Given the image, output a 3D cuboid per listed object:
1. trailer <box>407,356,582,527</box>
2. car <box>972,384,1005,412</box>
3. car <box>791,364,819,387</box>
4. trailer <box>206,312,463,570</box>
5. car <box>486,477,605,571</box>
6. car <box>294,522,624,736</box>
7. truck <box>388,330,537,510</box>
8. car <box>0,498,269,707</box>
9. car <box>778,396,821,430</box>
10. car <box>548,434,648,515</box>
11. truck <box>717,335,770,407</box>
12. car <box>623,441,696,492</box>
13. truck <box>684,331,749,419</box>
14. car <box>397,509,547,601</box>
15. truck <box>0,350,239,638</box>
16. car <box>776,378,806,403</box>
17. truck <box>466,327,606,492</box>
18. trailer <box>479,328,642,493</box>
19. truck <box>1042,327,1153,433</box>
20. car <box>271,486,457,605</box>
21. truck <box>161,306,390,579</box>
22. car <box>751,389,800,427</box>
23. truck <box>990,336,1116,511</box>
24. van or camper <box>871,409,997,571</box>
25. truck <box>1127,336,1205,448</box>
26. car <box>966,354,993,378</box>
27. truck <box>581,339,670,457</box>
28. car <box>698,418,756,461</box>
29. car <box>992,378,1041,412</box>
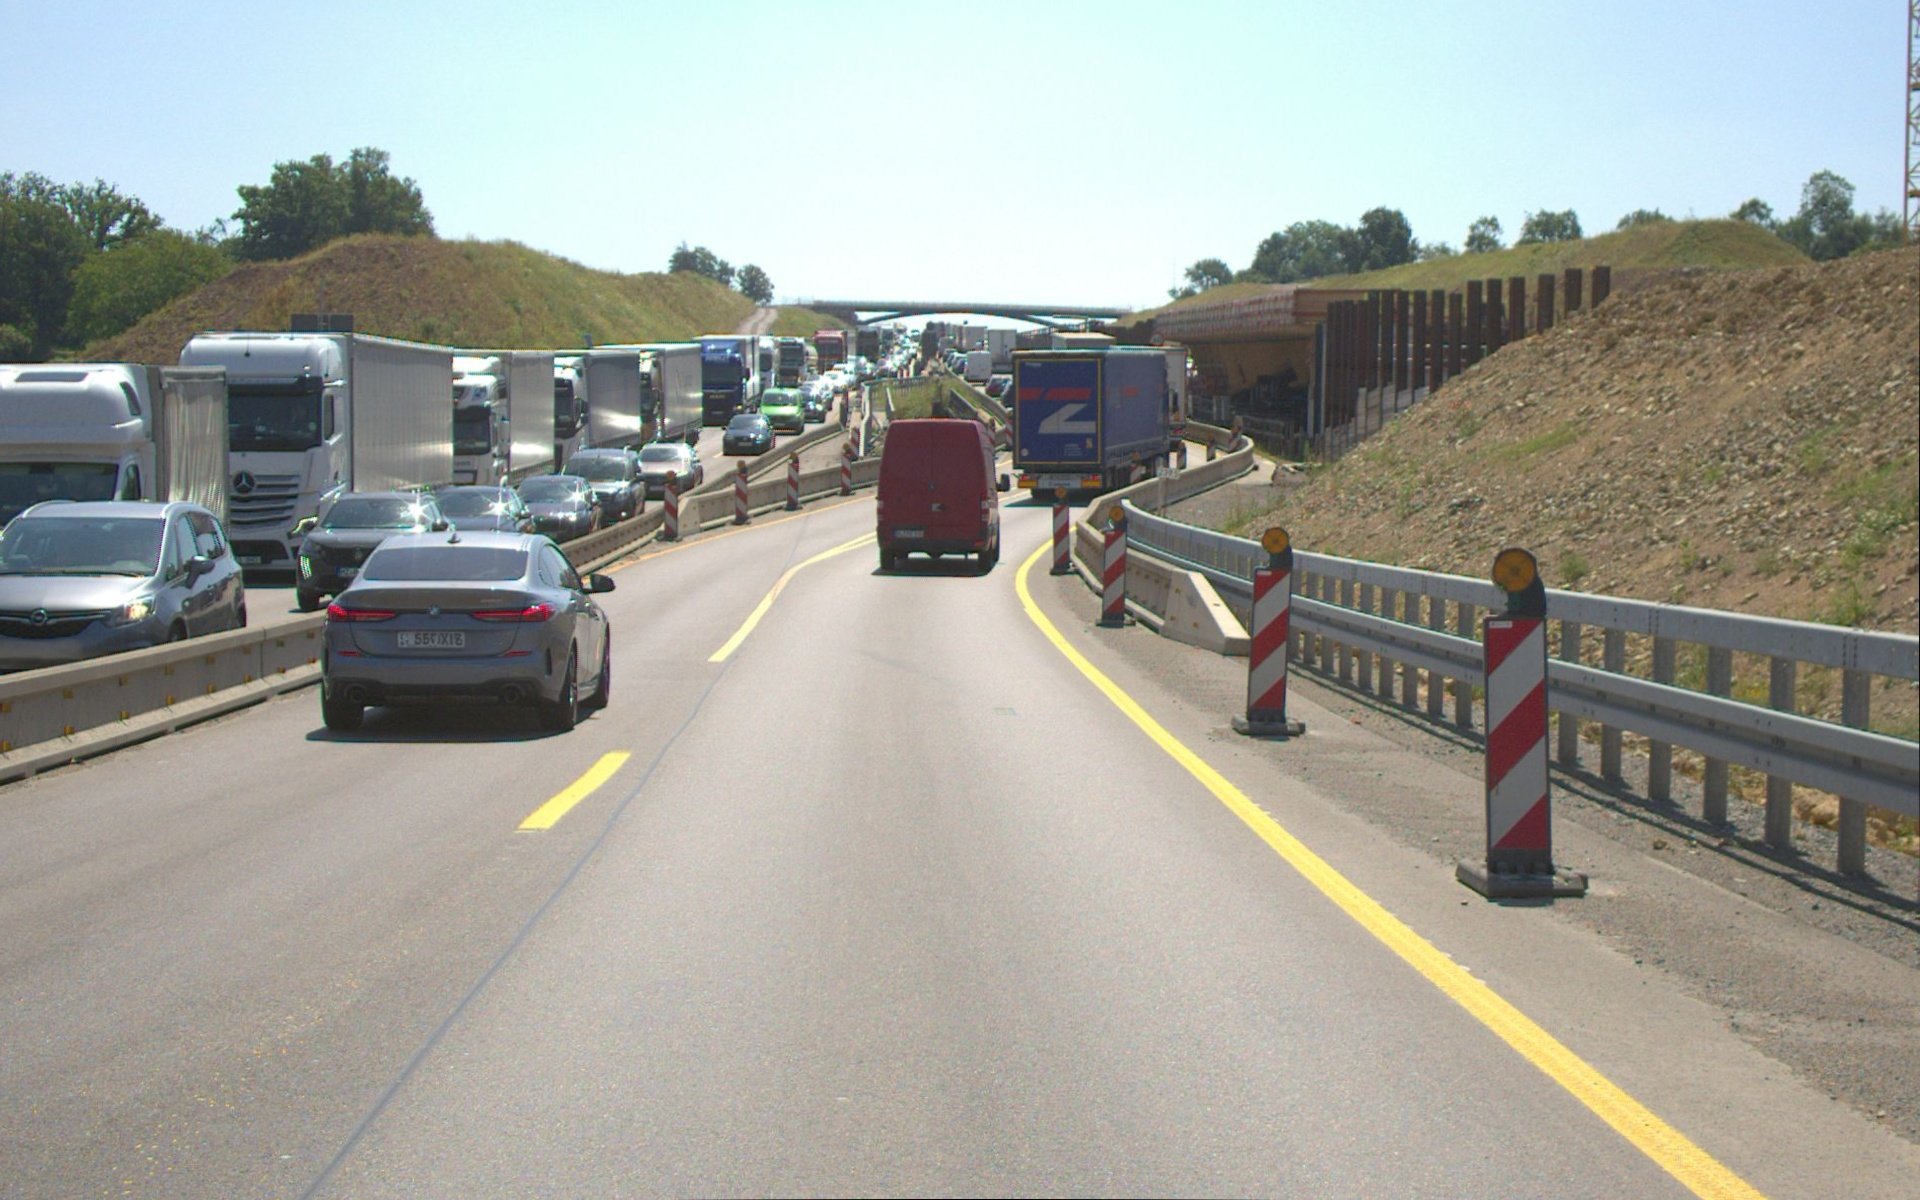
[{"bbox_3d":[-11.364,-3.774,84.963,2.783,3.918,11.009,0,1,0],"label":"trailer"},{"bbox_3d":[1.746,-12.545,213.519,1.952,1.525,4.268,1,1,-1],"label":"car"},{"bbox_3d":[-10.995,-15.947,244.228,1.952,1.524,4.268,0,2,-2],"label":"car"},{"bbox_3d":[-11.264,-2.824,63.197,2.595,4.242,12.469,0,2,-1],"label":"trailer"},{"bbox_3d":[-8.115,-1.506,67.579,1.993,1.777,4.001,0,2,-2],"label":"car"},{"bbox_3d":[-3.681,0.161,26.035,1.851,1.447,4.742,1,1,-1],"label":"car"},{"bbox_3d":[-11.276,-4.028,78.336,2.782,3.856,5.462,0,0,-2],"label":"truck"},{"bbox_3d":[-7.237,-0.025,29.407,1.827,1.645,4.547,0,1,-1],"label":"car"},{"bbox_3d":[-7.747,-9.045,166.162,1.952,1.524,4.268,0,2,-1],"label":"car"},{"bbox_3d":[-8.270,-2.864,78.751,1.993,1.777,4.001,0,2,-2],"label":"car"},{"bbox_3d":[-12.343,-13.054,196.470,2.887,3.826,8.003,0,2,-3],"label":"truck"},{"bbox_3d":[-8.427,-3.738,96.721,1.747,1.404,4.001,0,2,-1],"label":"car"},{"bbox_3d":[-11.478,-10.606,162.835,2.887,3.826,8.003,0,2,-3],"label":"truck"},{"bbox_3d":[-8.145,-0.791,57.720,1.902,1.371,4.547,-2,2,-1],"label":"car"},{"bbox_3d":[-10.442,-1.299,41.055,2.433,3.137,7.025,0,2,-2],"label":"truck"},{"bbox_3d":[-11.655,-14.470,237.634,1.952,1.524,4.268,0,2,-2],"label":"car"},{"bbox_3d":[-11.795,-5.285,96.071,3.052,4.465,5.980,0,2,1],"label":"truck"},{"bbox_3d":[-11.651,-5.472,101.401,3.042,4.536,12.127,0,2,2],"label":"trailer"},{"bbox_3d":[7.392,-11.539,182.127,5.161,4.980,13.874,-2,2,5],"label":"truck"},{"bbox_3d":[-8.058,-0.745,46.840,1.827,1.530,4.547,0,1,-1],"label":"car"},{"bbox_3d":[-11.176,-2.576,56.692,2.550,4.216,6.531,0,2,-1],"label":"truck"},{"bbox_3d":[-7.994,-8.314,149.056,1.952,1.524,4.268,0,2,-1],"label":"car"},{"bbox_3d":[2.682,-4.891,96.426,3.021,4.676,6.932,-1,2,5],"label":"truck"},{"bbox_3d":[-0.503,-1.946,60.871,2.029,2.734,4.516,1,2,-3],"label":"van or camper"},{"bbox_3d":[8.208,-8.224,136.960,3.038,4.086,7.084,0,0,3],"label":"truck"},{"bbox_3d":[1.451,-17.419,256.140,1.952,1.635,4.268,0,2,-1],"label":"car"},{"bbox_3d":[-11.452,-6.881,118.353,2.683,3.826,7.387,0,2,-3],"label":"truck"},{"bbox_3d":[-8.726,-6.017,128.819,1.952,1.524,4.268,0,2,-1],"label":"car"},{"bbox_3d":[3.056,-11.063,185.618,2.288,1.525,4.357,-3,1,5],"label":"car"}]
